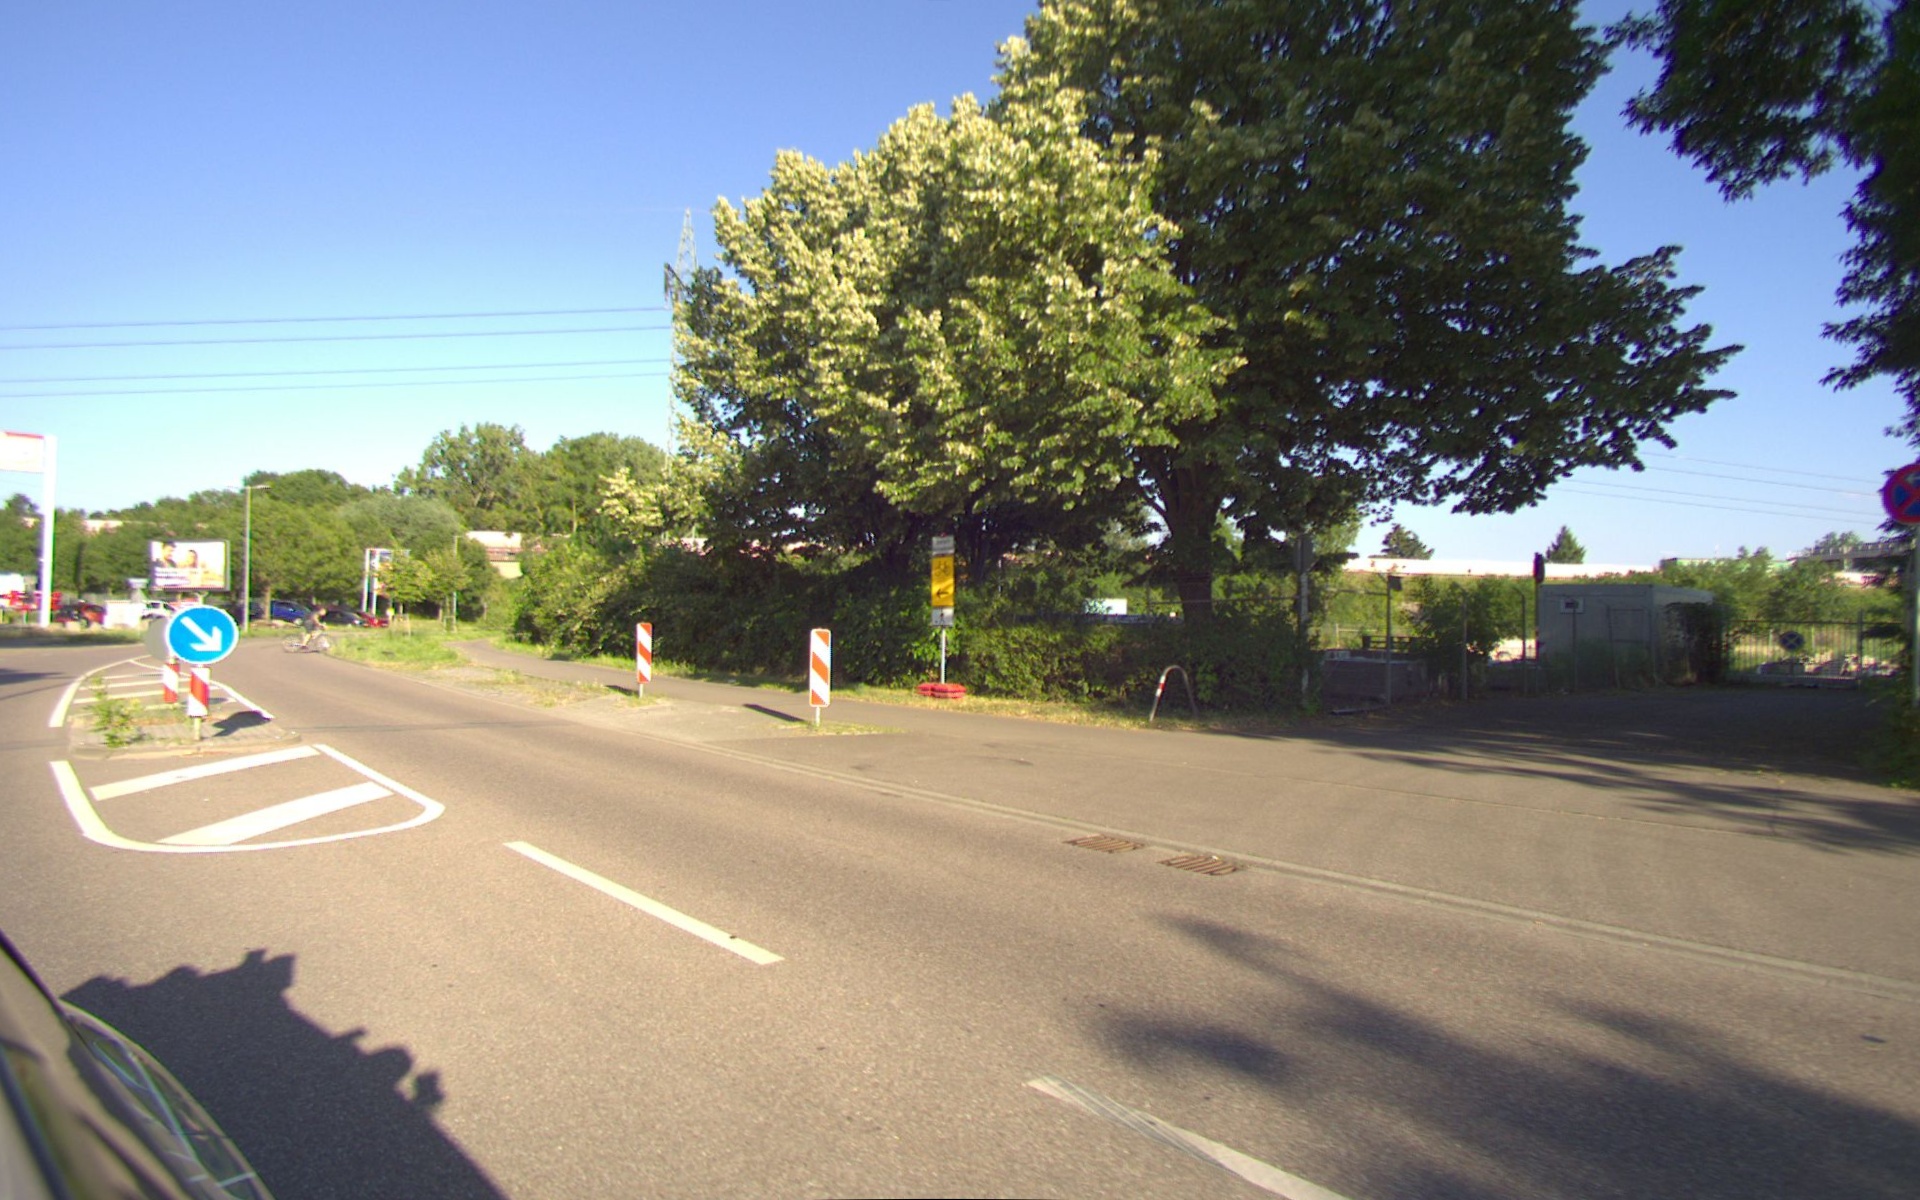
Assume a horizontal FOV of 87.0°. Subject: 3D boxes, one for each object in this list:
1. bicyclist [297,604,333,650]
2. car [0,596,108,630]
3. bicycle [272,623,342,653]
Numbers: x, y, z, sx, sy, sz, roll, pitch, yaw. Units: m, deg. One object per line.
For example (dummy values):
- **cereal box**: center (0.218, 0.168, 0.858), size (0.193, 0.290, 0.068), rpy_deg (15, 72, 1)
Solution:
- **bicyclist**: center (-25.313, 1.052, 39.743), size (0.938, 1.766, 0.915), rpy_deg (2, -2, -20)
- **car**: center (-58.062, 0.868, 64.902), size (4.777, 2.029, 2.300), rpy_deg (1, -2, -1)
- **bicycle**: center (-25.544, 1.496, 39.622), size (2.125, 1.109, 0.928), rpy_deg (2, -2, -21)
